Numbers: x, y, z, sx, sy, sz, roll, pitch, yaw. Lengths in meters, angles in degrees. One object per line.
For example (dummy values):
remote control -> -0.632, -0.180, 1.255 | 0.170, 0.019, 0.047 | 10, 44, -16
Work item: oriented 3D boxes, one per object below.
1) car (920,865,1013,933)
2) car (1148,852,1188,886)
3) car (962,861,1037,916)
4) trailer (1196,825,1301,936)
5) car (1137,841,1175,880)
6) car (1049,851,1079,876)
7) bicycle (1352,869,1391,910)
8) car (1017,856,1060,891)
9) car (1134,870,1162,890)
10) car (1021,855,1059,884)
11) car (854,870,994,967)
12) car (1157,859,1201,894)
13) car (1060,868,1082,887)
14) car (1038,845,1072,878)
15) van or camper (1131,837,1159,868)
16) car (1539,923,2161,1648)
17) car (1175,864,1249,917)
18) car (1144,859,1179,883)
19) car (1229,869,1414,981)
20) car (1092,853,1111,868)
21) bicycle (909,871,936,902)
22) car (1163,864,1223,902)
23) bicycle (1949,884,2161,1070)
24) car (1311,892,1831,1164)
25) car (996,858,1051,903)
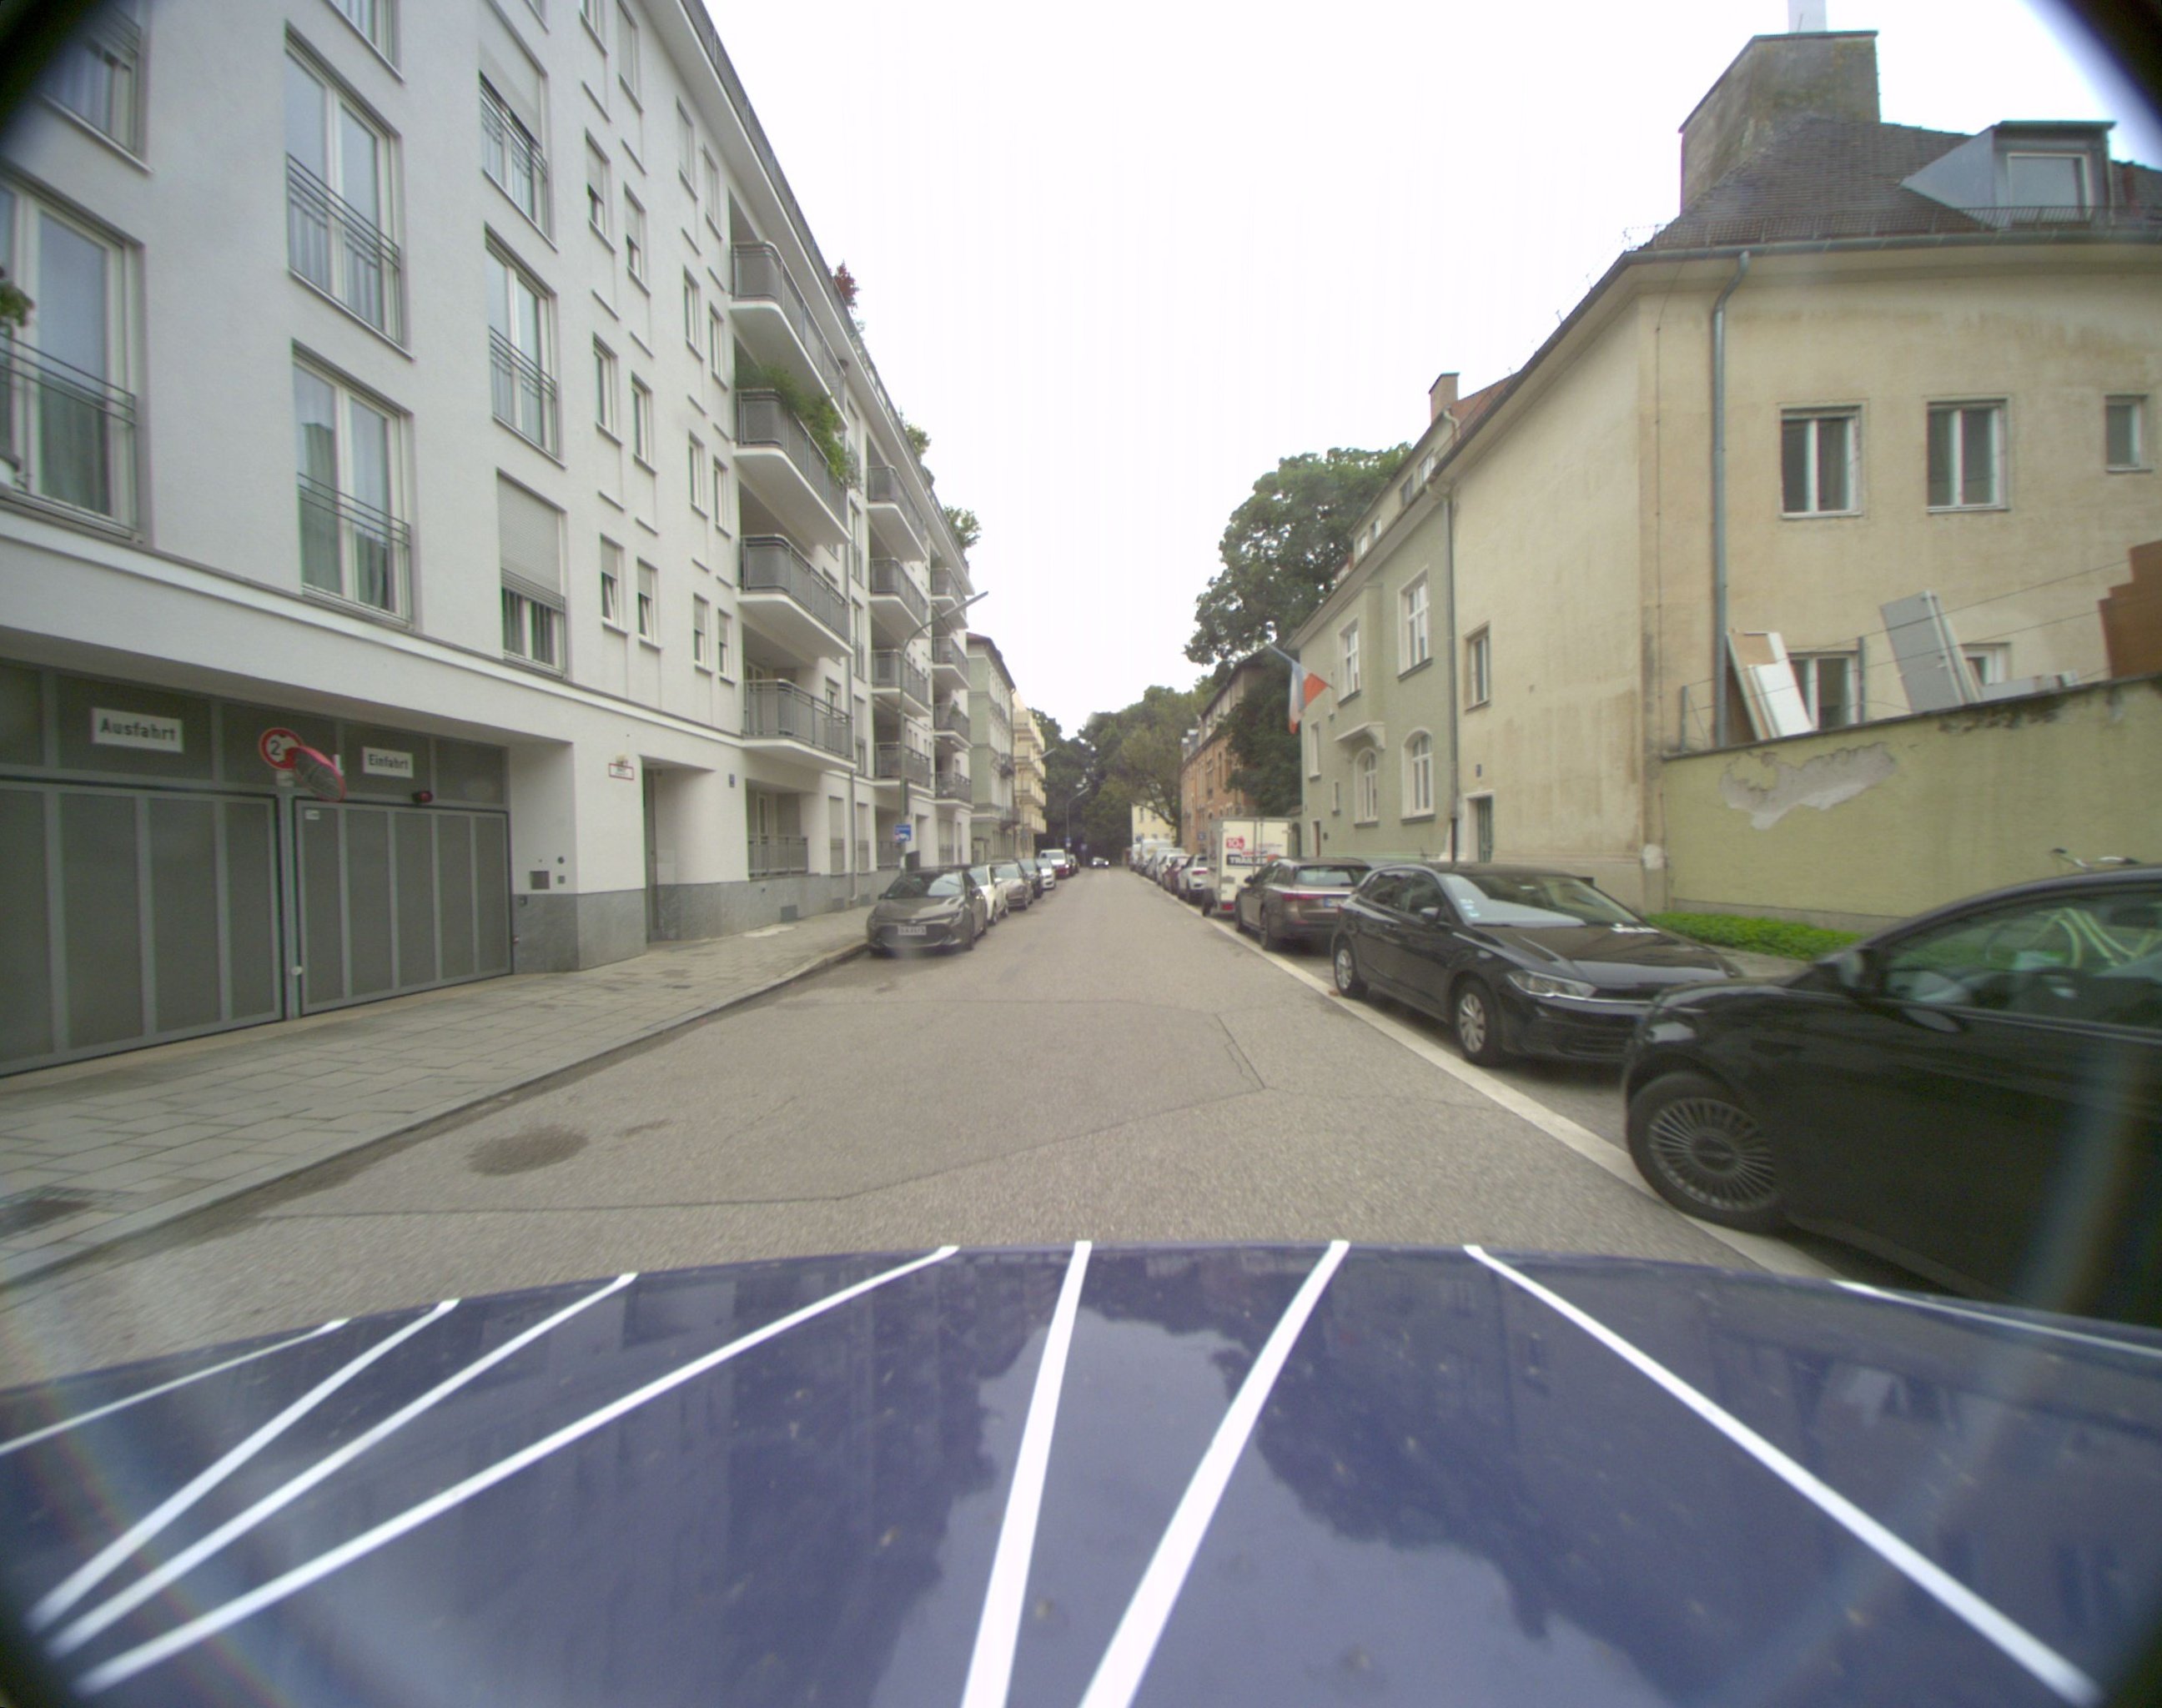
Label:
car -> -2.768, 1.055, 19.138 | 1.621, 1.458, 3.747 | -3, -1, 2
car -> 4.680, 0.798, 41.352 | 1.719, 1.745, 4.251 | -1, -1, 1
car -> -2.471, 1.005, 24.122 | 1.796, 1.473, 4.603 | -3, -1, 0
trailer -> 4.074, 0.606, 19.217 | 1.980, 2.457, 4.578 | 1, 0, 5
car -> 5.023, 0.461, 51.700 | 2.117, 2.461, 5.232 | -1, -1, 1
car -> -1.229, 0.693, 56.525 | 1.860, 1.700, 4.699 | -3, -1, 2
bicycle -> 8.212, 0.979, 21.541 | 0.461, 1.078, 1.523 | -4, 0, 1
car -> -1.941, 0.890, 35.933 | 1.668, 1.458, 4.376 | -4, -1, 0
car -> 4.992, 1.940, 57.056 | 1.769, 1.406, 3.793 | -1, -1, 1
car -> -2.151, 0.833, 40.730 | 1.719, 1.414, 3.720 | -4, -1, 0
car -> -2.762, 1.077, 14.317 | 1.776, 1.467, 4.218 | -2, -1, -1
car -> 4.458, 0.986, 35.041 | 1.630, 1.459, 3.520 | -1, 1, 1
car -> -0.833, 2.087, 67.891 | 1.771, 1.607, 4.264 | -2, -1, 1
car -> -1.674, 0.533, 50.924 | 1.858, 2.019, 4.784 | -3, -1, 2
van or camper -> 5.670, -0.078, 68.135 | 2.116, 2.646, 4.959 | -1, -1, 1
car -> 3.304, 1.087, 2.057 | 1.657, 1.488, 3.908 | 0, -1, -2
car -> 4.069, 1.086, 24.150 | 1.683, 1.521, 4.108 | -1, -1, 1
car -> 4.856, 1.025, 46.207 | 1.719, 1.411, 4.167 | -1, -1, 1
car -> 3.875, 1.060, 13.231 | 1.868, 1.532, 5.093 | -1, -1, 3
car -> 2.291, 0.769, 85.186 | 1.998, 1.521, 4.001 | -3, -1, 1
bicycle -> -5.849, 1.184, 28.120 | 0.570, 1.091, 1.810 | 1, 0, 2
car -> 4.303, 1.080, 29.695 | 1.750, 1.360, 4.403 | -1, -1, 1
bicycle -> 7.922, 0.885, 5.645 | 0.804, 1.226, 1.868 | -2, 0, 1
car -> 3.549, 1.130, 6.624 | 1.679, 1.428, 4.286 | 0, -1, -2
car -> -2.213, 1.004, 30.058 | 1.842, 1.523, 4.021 | -4, -1, -1
